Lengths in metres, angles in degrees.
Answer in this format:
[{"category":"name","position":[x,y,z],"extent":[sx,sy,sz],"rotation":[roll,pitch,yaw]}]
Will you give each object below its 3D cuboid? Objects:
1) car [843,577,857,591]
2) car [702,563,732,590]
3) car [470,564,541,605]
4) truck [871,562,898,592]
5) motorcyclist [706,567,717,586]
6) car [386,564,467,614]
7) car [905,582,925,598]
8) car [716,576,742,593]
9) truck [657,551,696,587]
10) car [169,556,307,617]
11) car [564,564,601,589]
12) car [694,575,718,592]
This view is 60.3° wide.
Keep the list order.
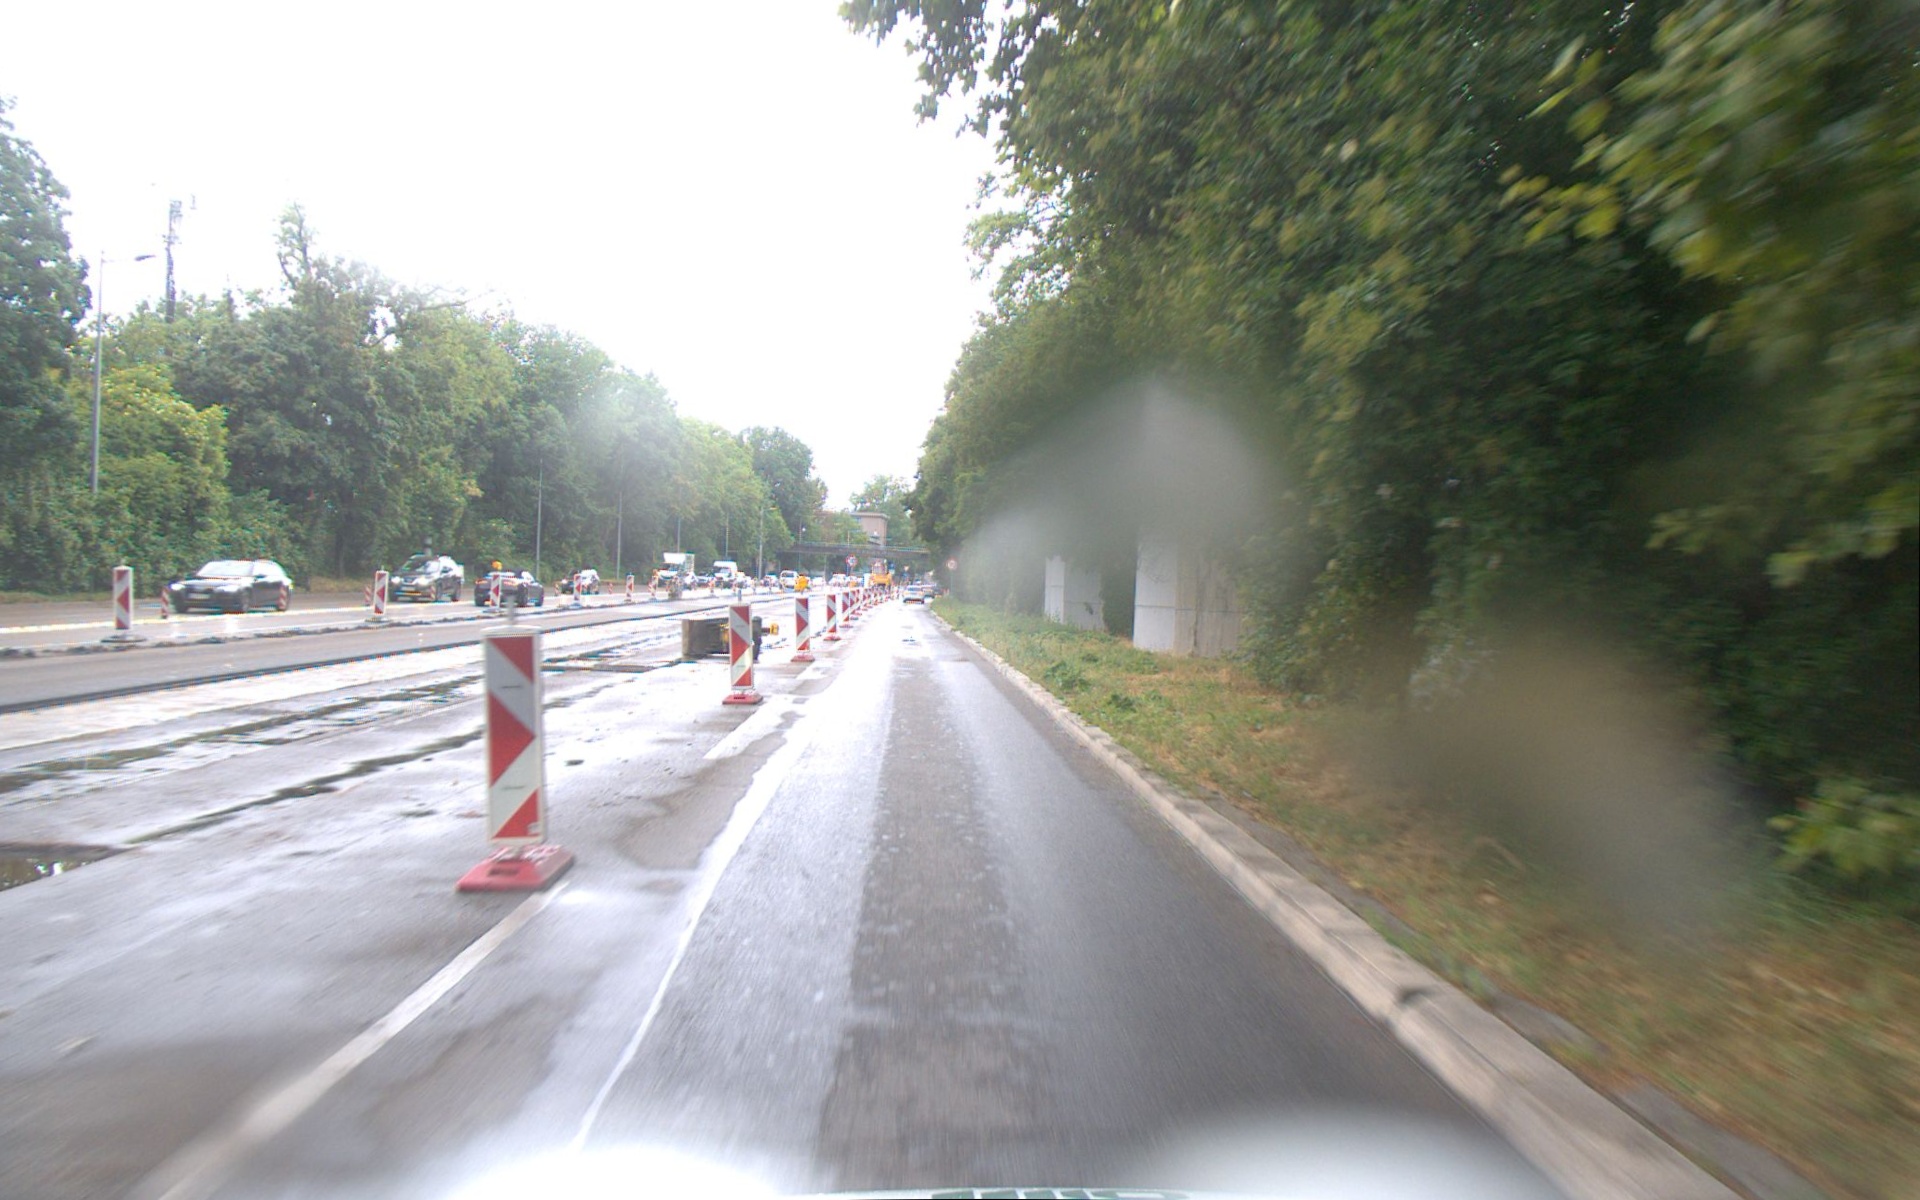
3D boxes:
[{"category":"car","position":[-15.519,-2.230,233.054],"extent":[1.636,1.840,4.320],"rotation":[2,2,-1]},{"category":"car","position":[-24.700,-2.360,168.186],"extent":[2.057,2.624,6.852],"rotation":[2,1,-1]},{"category":"car","position":[-16.986,-0.577,61.957],"extent":[1.575,1.429,4.040],"rotation":[2,1,-1]},{"category":"truck","position":[-9.553,-2.896,211.105],"extent":[3.194,3.558,13.865],"rotation":[2,1,-2]},{"category":"motorcyclist","position":[-22.089,-2.099,146.867],"extent":[0.811,1.592,0.926],"rotation":[3,0,-2]},{"category":"car","position":[-20.132,-0.417,62.601],"extent":[1.700,1.752,4.492],"rotation":[2,0,-2]},{"category":"car","position":[-3.846,-0.878,140.870],"extent":[1.663,1.359,3.490],"rotation":[0,0,-1]},{"category":"car","position":[-22.554,-1.512,161.475],"extent":[1.920,1.557,4.436],"rotation":[2,1,-1]},{"category":"truck","position":[-24.878,-2.689,145.359],"extent":[2.200,2.991,6.934],"rotation":[2,1,-1]},{"category":"car","position":[-19.367,-0.369,44.622],"extent":[1.725,1.509,4.898],"rotation":[2,0,-3]},{"category":"car","position":[-21.565,-1.359,94.557],"extent":[1.419,1.355,3.857],"rotation":[2,0,-4]},{"category":"car","position":[-24.645,-1.593,160.429],"extent":[1.636,1.511,4.319],"rotation":[2,1,-1]}]
